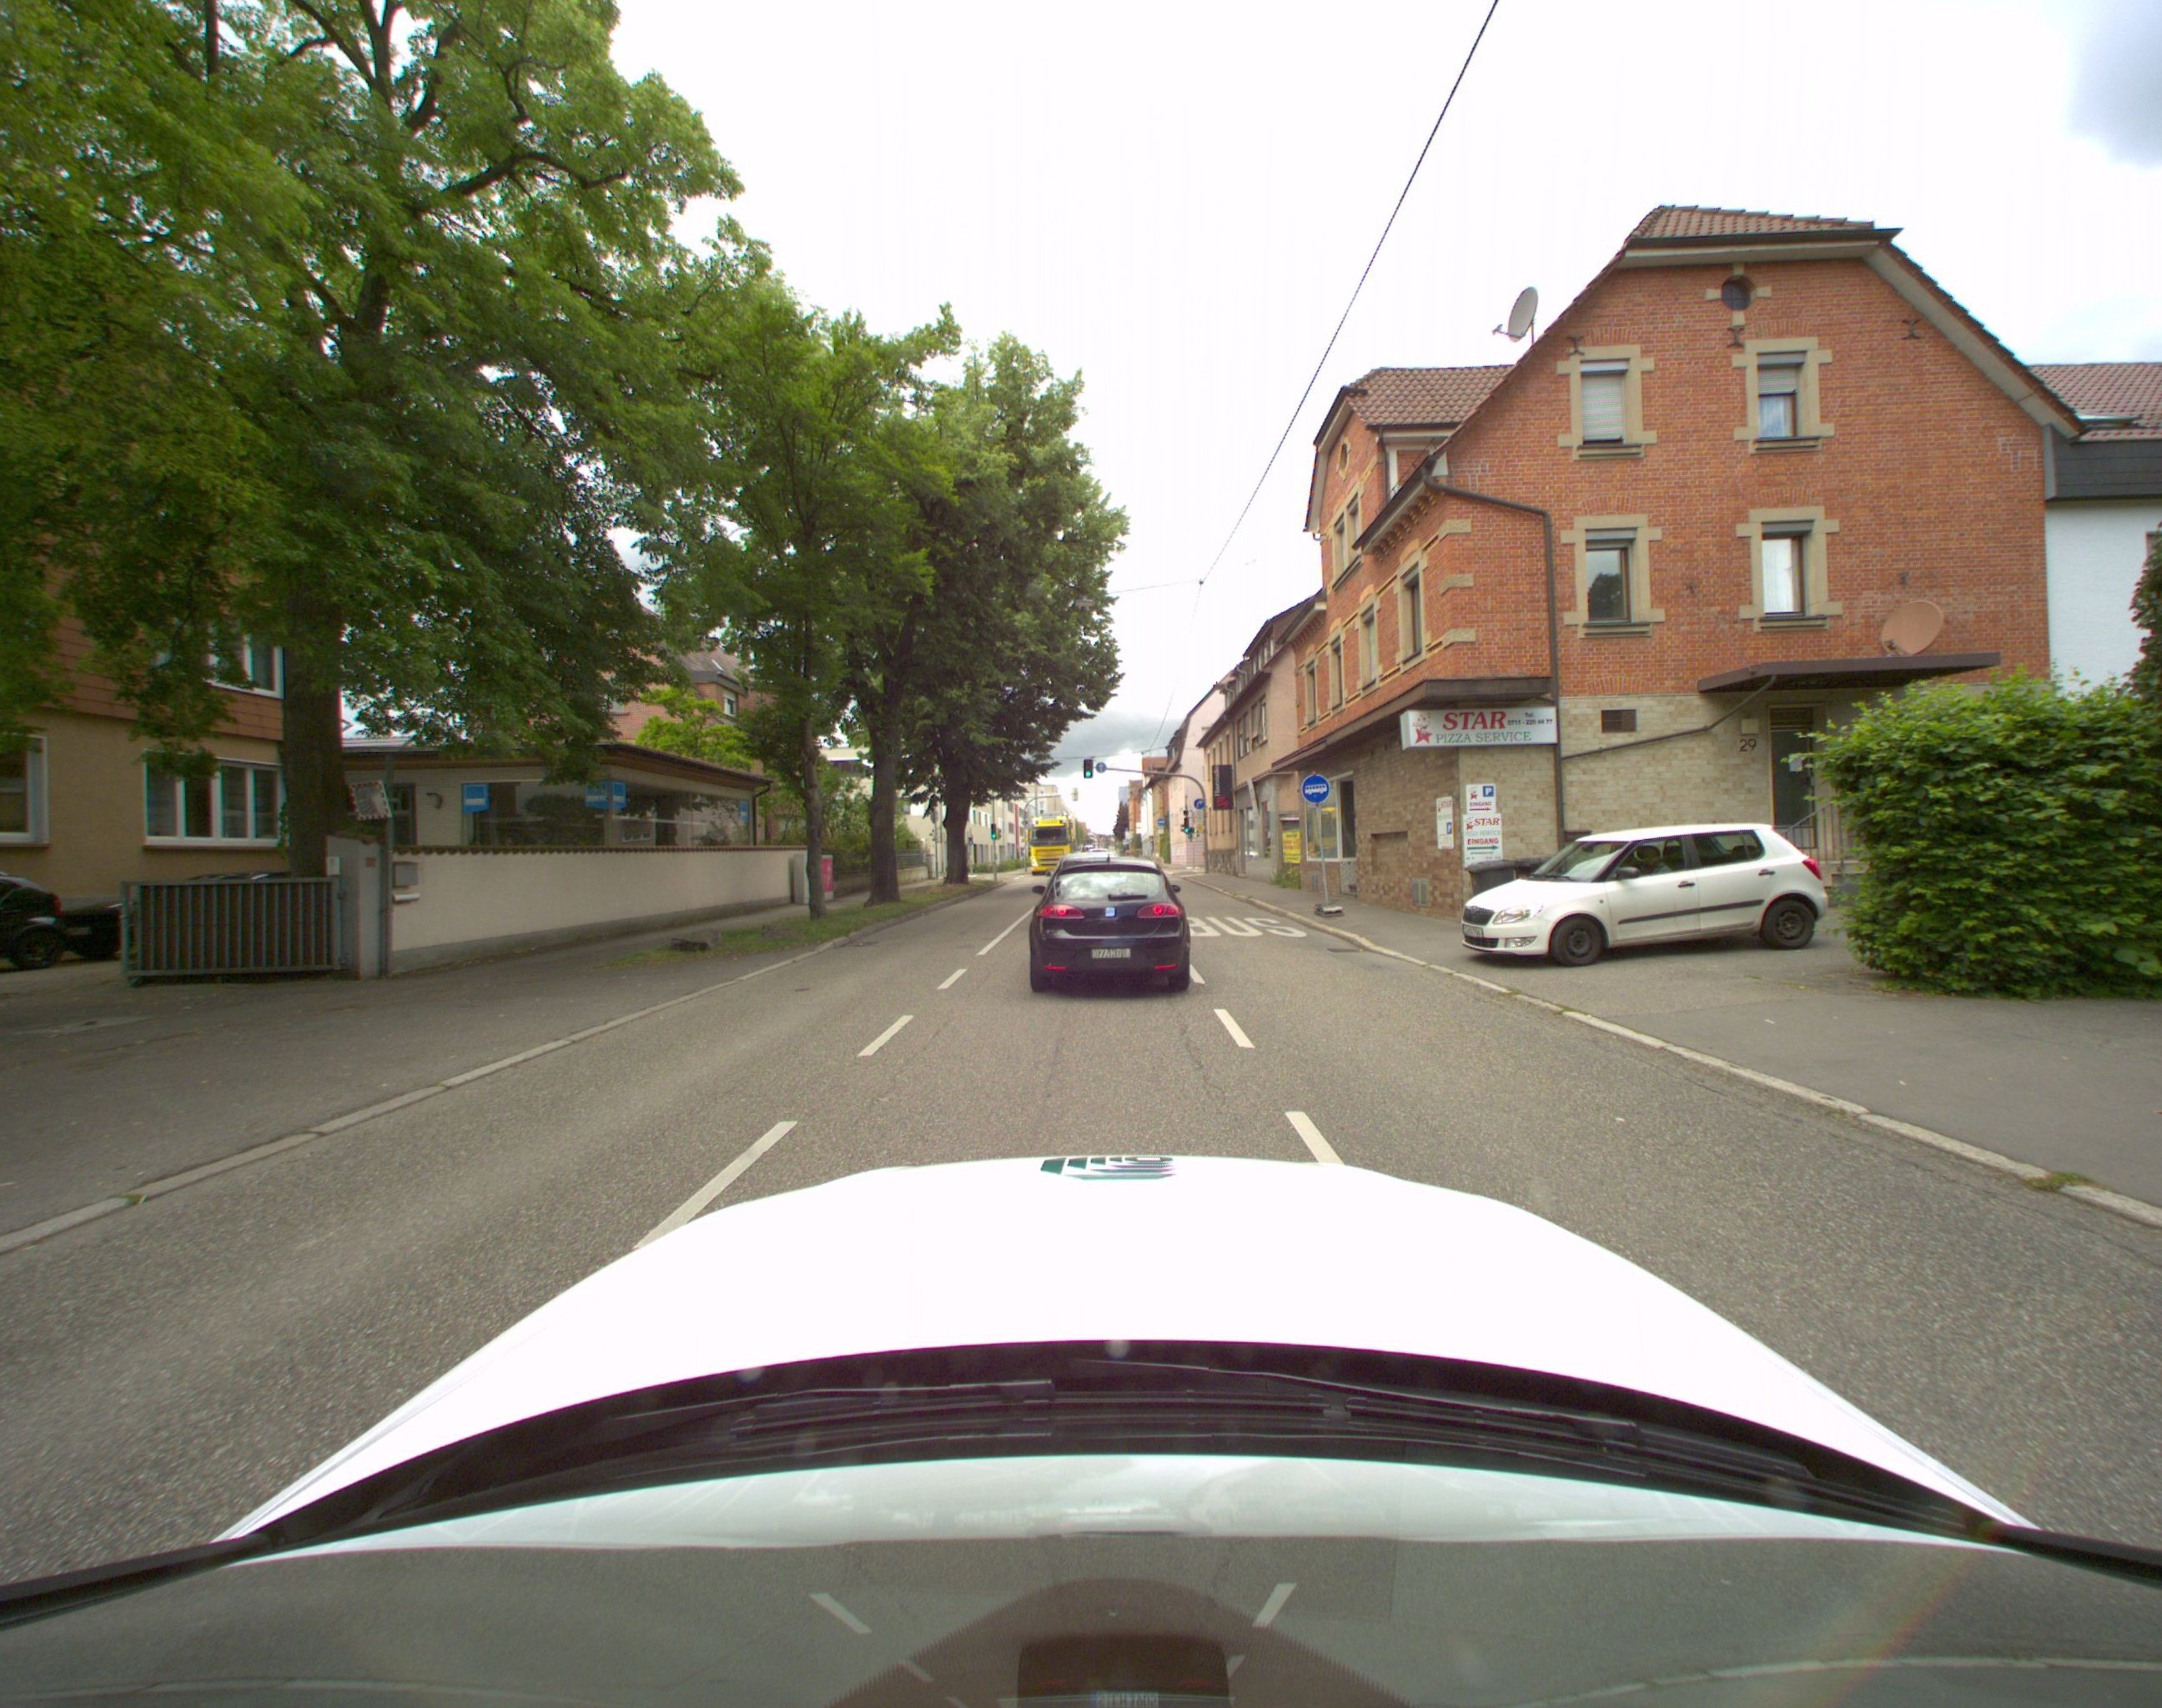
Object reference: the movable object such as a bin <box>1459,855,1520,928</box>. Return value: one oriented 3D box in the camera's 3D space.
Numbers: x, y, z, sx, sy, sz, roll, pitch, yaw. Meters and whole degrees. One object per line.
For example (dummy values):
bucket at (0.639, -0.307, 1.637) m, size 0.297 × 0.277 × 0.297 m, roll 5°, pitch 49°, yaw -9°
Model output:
movable object such as a bin at (6.527, 0.582, 13.034) m, size 0.604 × 1.100 × 0.623 m, roll -4°, pitch -1°, yaw 1°

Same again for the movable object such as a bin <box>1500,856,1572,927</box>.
movable object such as a bin at (7.284, 0.588, 13.062) m, size 0.696 × 1.059 × 0.724 m, roll -4°, pitch 0°, yaw 1°

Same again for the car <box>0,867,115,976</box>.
car at (-17.384, 1.054, 11.880) m, size 1.774 × 1.640 × 4.000 m, roll -1°, pitch 0°, yaw 1°

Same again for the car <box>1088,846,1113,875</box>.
car at (1.220, 0.404, 51.178) m, size 1.526 × 1.693 × 3.694 m, roll -1°, pitch 0°, yaw 1°

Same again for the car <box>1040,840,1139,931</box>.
car at (0.207, 0.595, 17.237) m, size 1.836 × 1.693 × 4.001 m, roll -1°, pitch 0°, yaw 1°

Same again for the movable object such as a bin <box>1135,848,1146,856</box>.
movable object such as a bin at (10.377, -0.294, 142.273) m, size 1.811 × 1.437 × 1.994 m, roll -1°, pitch 0°, yaw 2°

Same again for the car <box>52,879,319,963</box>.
car at (-16.883, 1.196, 15.605) m, size 1.336 × 1.330 × 3.398 m, roll -1°, pitch 0°, yaw 0°

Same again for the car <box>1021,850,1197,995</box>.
car at (0.336, 0.697, 10.198) m, size 1.752 × 1.442 × 4.001 m, roll -1°, pitch 0°, yaw 1°

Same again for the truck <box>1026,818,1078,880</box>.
truck at (-1.826, -0.316, 54.187) m, size 2.833 × 3.782 × 7.673 m, roll -1°, pitch 0°, yaw 2°

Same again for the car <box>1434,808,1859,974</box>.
car at (6.728, 0.412, 9.979) m, size 4.017 × 1.470 × 1.600 m, roll -6°, pitch 0°, yaw -1°

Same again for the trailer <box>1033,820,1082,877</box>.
trailer at (-1.569, -0.316, 62.094) m, size 2.847 × 3.808 × 14.396 m, roll -1°, pitch 0°, yaw 2°

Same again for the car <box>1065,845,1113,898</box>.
car at (0.300, 0.555, 28.133) m, size 1.526 × 1.693 × 3.694 m, roll -1°, pitch 0°, yaw 1°
